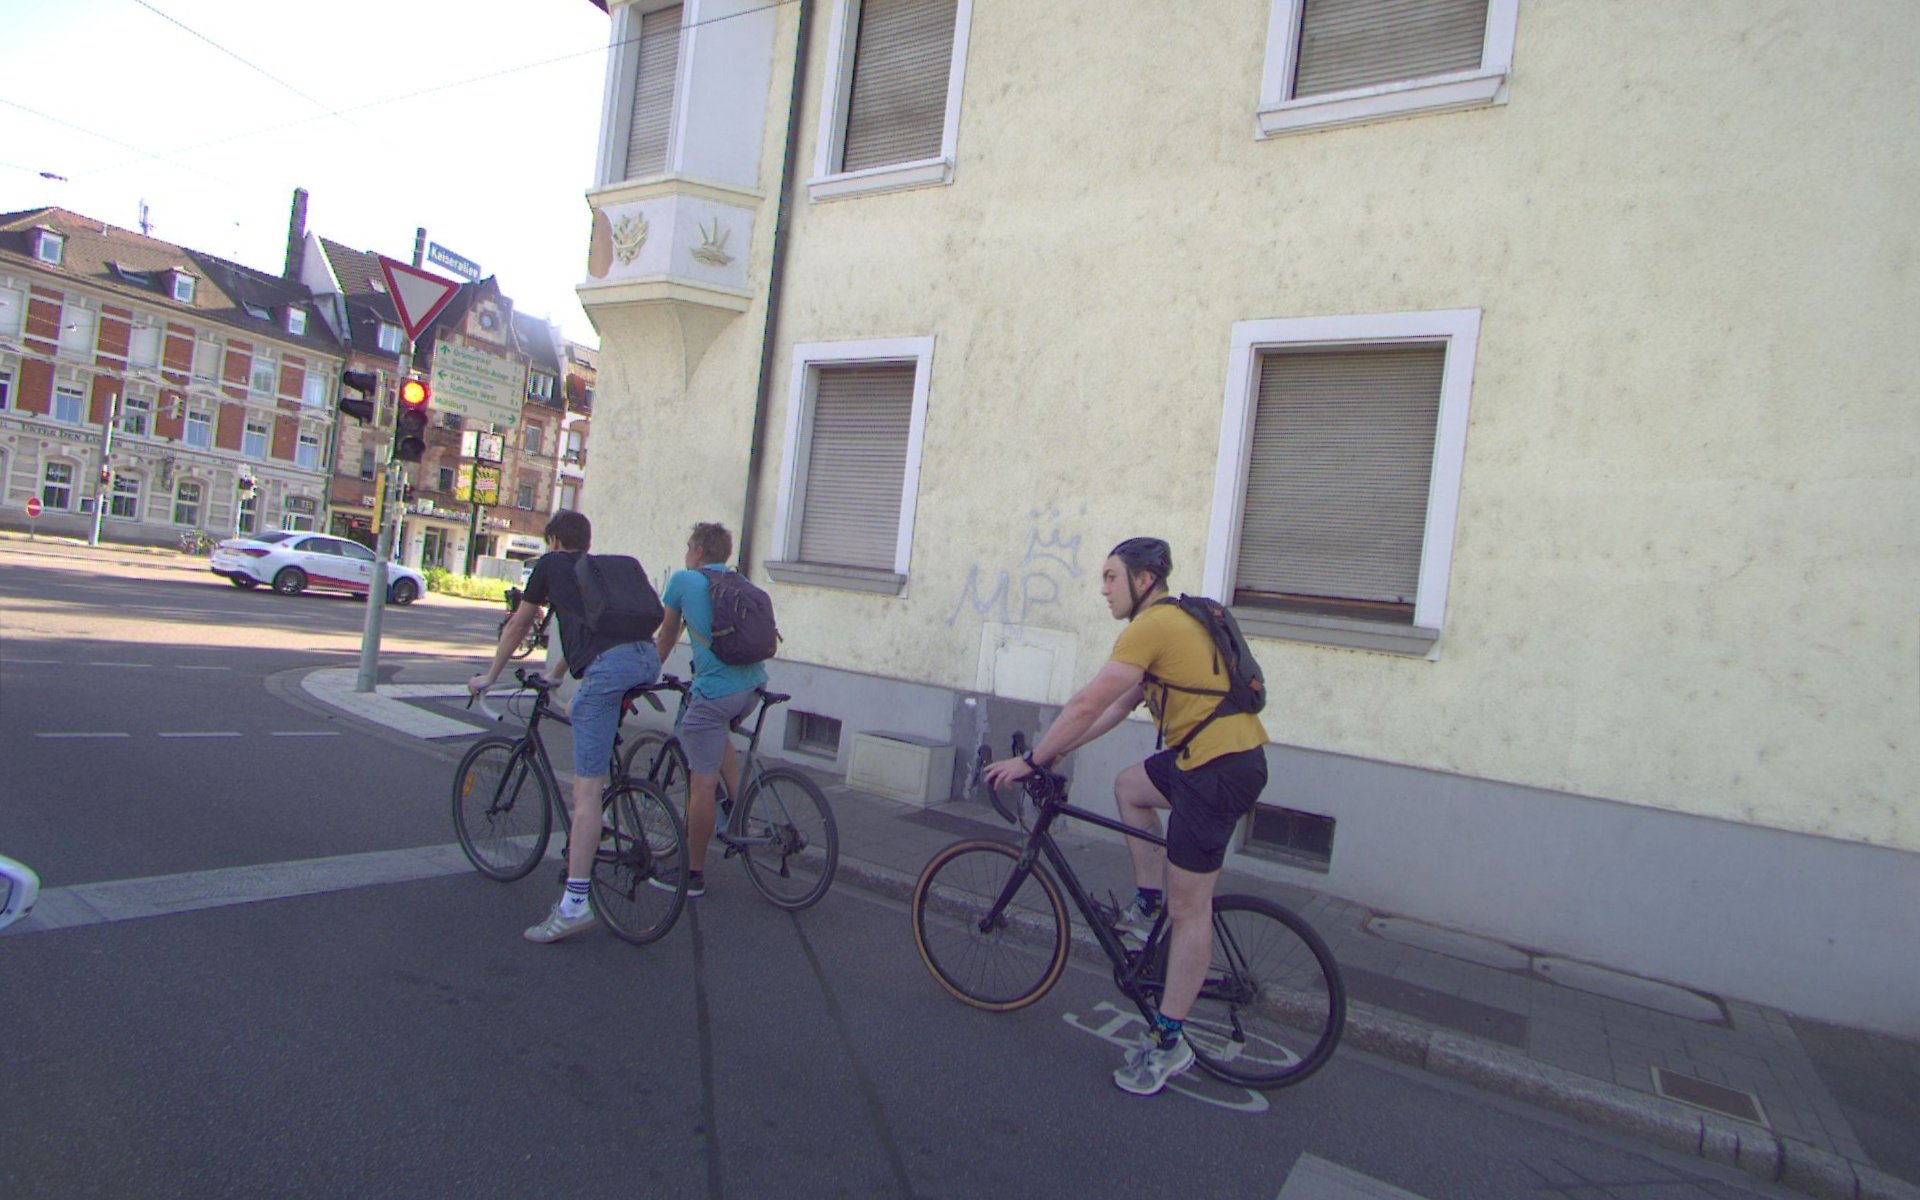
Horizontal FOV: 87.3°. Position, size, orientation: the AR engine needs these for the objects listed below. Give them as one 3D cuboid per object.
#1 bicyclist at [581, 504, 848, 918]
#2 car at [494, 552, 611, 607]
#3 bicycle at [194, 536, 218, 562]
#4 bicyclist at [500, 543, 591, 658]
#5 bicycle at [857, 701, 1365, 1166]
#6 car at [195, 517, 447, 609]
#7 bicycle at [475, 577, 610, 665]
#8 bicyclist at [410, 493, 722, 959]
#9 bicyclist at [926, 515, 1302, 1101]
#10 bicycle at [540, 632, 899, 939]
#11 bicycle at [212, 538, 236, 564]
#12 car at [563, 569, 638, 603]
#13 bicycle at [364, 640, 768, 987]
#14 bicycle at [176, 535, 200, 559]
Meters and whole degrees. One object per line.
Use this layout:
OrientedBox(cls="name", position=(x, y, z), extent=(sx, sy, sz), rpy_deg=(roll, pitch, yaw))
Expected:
OrientedBox(cls="bicyclist", position=(-1.283, 0.525, 5.265), extent=(0.978, 1.910, 0.652), rpy_deg=(7, 0, 32))
OrientedBox(cls="car", position=(-20.002, -0.958, 49.633), extent=(1.967, 2.037, 4.988), rpy_deg=(7, -1, 31))
OrientedBox(cls="bicycle", position=(-34.639, -2.335, 46.195), extent=(1.759, 1.033, 0.485), rpy_deg=(7, 0, 42))
OrientedBox(cls="bicyclist", position=(-6.712, 0.026, 16.318), extent=(0.720, 1.733, 0.941), rpy_deg=(7, 0, 25))
OrientedBox(cls="bicycle", position=(0.516, 1.091, 3.767), extent=(1.670, 1.180, 0.571), rpy_deg=(7, 0, 32))
OrientedBox(cls="car", position=(-14.727, -0.778, 23.520), extent=(1.710, 1.490, 4.685), rpy_deg=(7, -1, 25))
OrientedBox(cls="bicycle", position=(-6.734, 0.374, 16.339), extent=(0.729, 1.237, 1.928), rpy_deg=(7, -1, 24))
OrientedBox(cls="bicyclist", position=(-1.747, 0.492, 4.464), extent=(0.978, 1.788, 0.652), rpy_deg=(7, 0, 32))
OrientedBox(cls="bicyclist", position=(0.579, 0.674, 3.773), extent=(1.019, 1.839, 0.652), rpy_deg=(7, 0, 32))
OrientedBox(cls="bicycle", position=(-1.307, 0.878, 5.275), extent=(1.858, 1.180, 0.571), rpy_deg=(7, 0, 32))
OrientedBox(cls="bicycle", position=(-34.187, -2.287, 46.741), extent=(1.759, 1.033, 0.485), rpy_deg=(7, 0, 42))
OrientedBox(cls="car", position=(-23.274, -0.887, 65.282), extent=(1.966, 1.641, 4.261), rpy_deg=(7, -1, 29))
OrientedBox(cls="bicycle", position=(-1.796, 0.835, 4.463), extent=(1.858, 1.071, 0.571), rpy_deg=(7, 0, 32))
OrientedBox(cls="bicycle", position=(-35.064, -2.409, 45.659), extent=(1.759, 0.925, 0.485), rpy_deg=(7, 0, 42))
